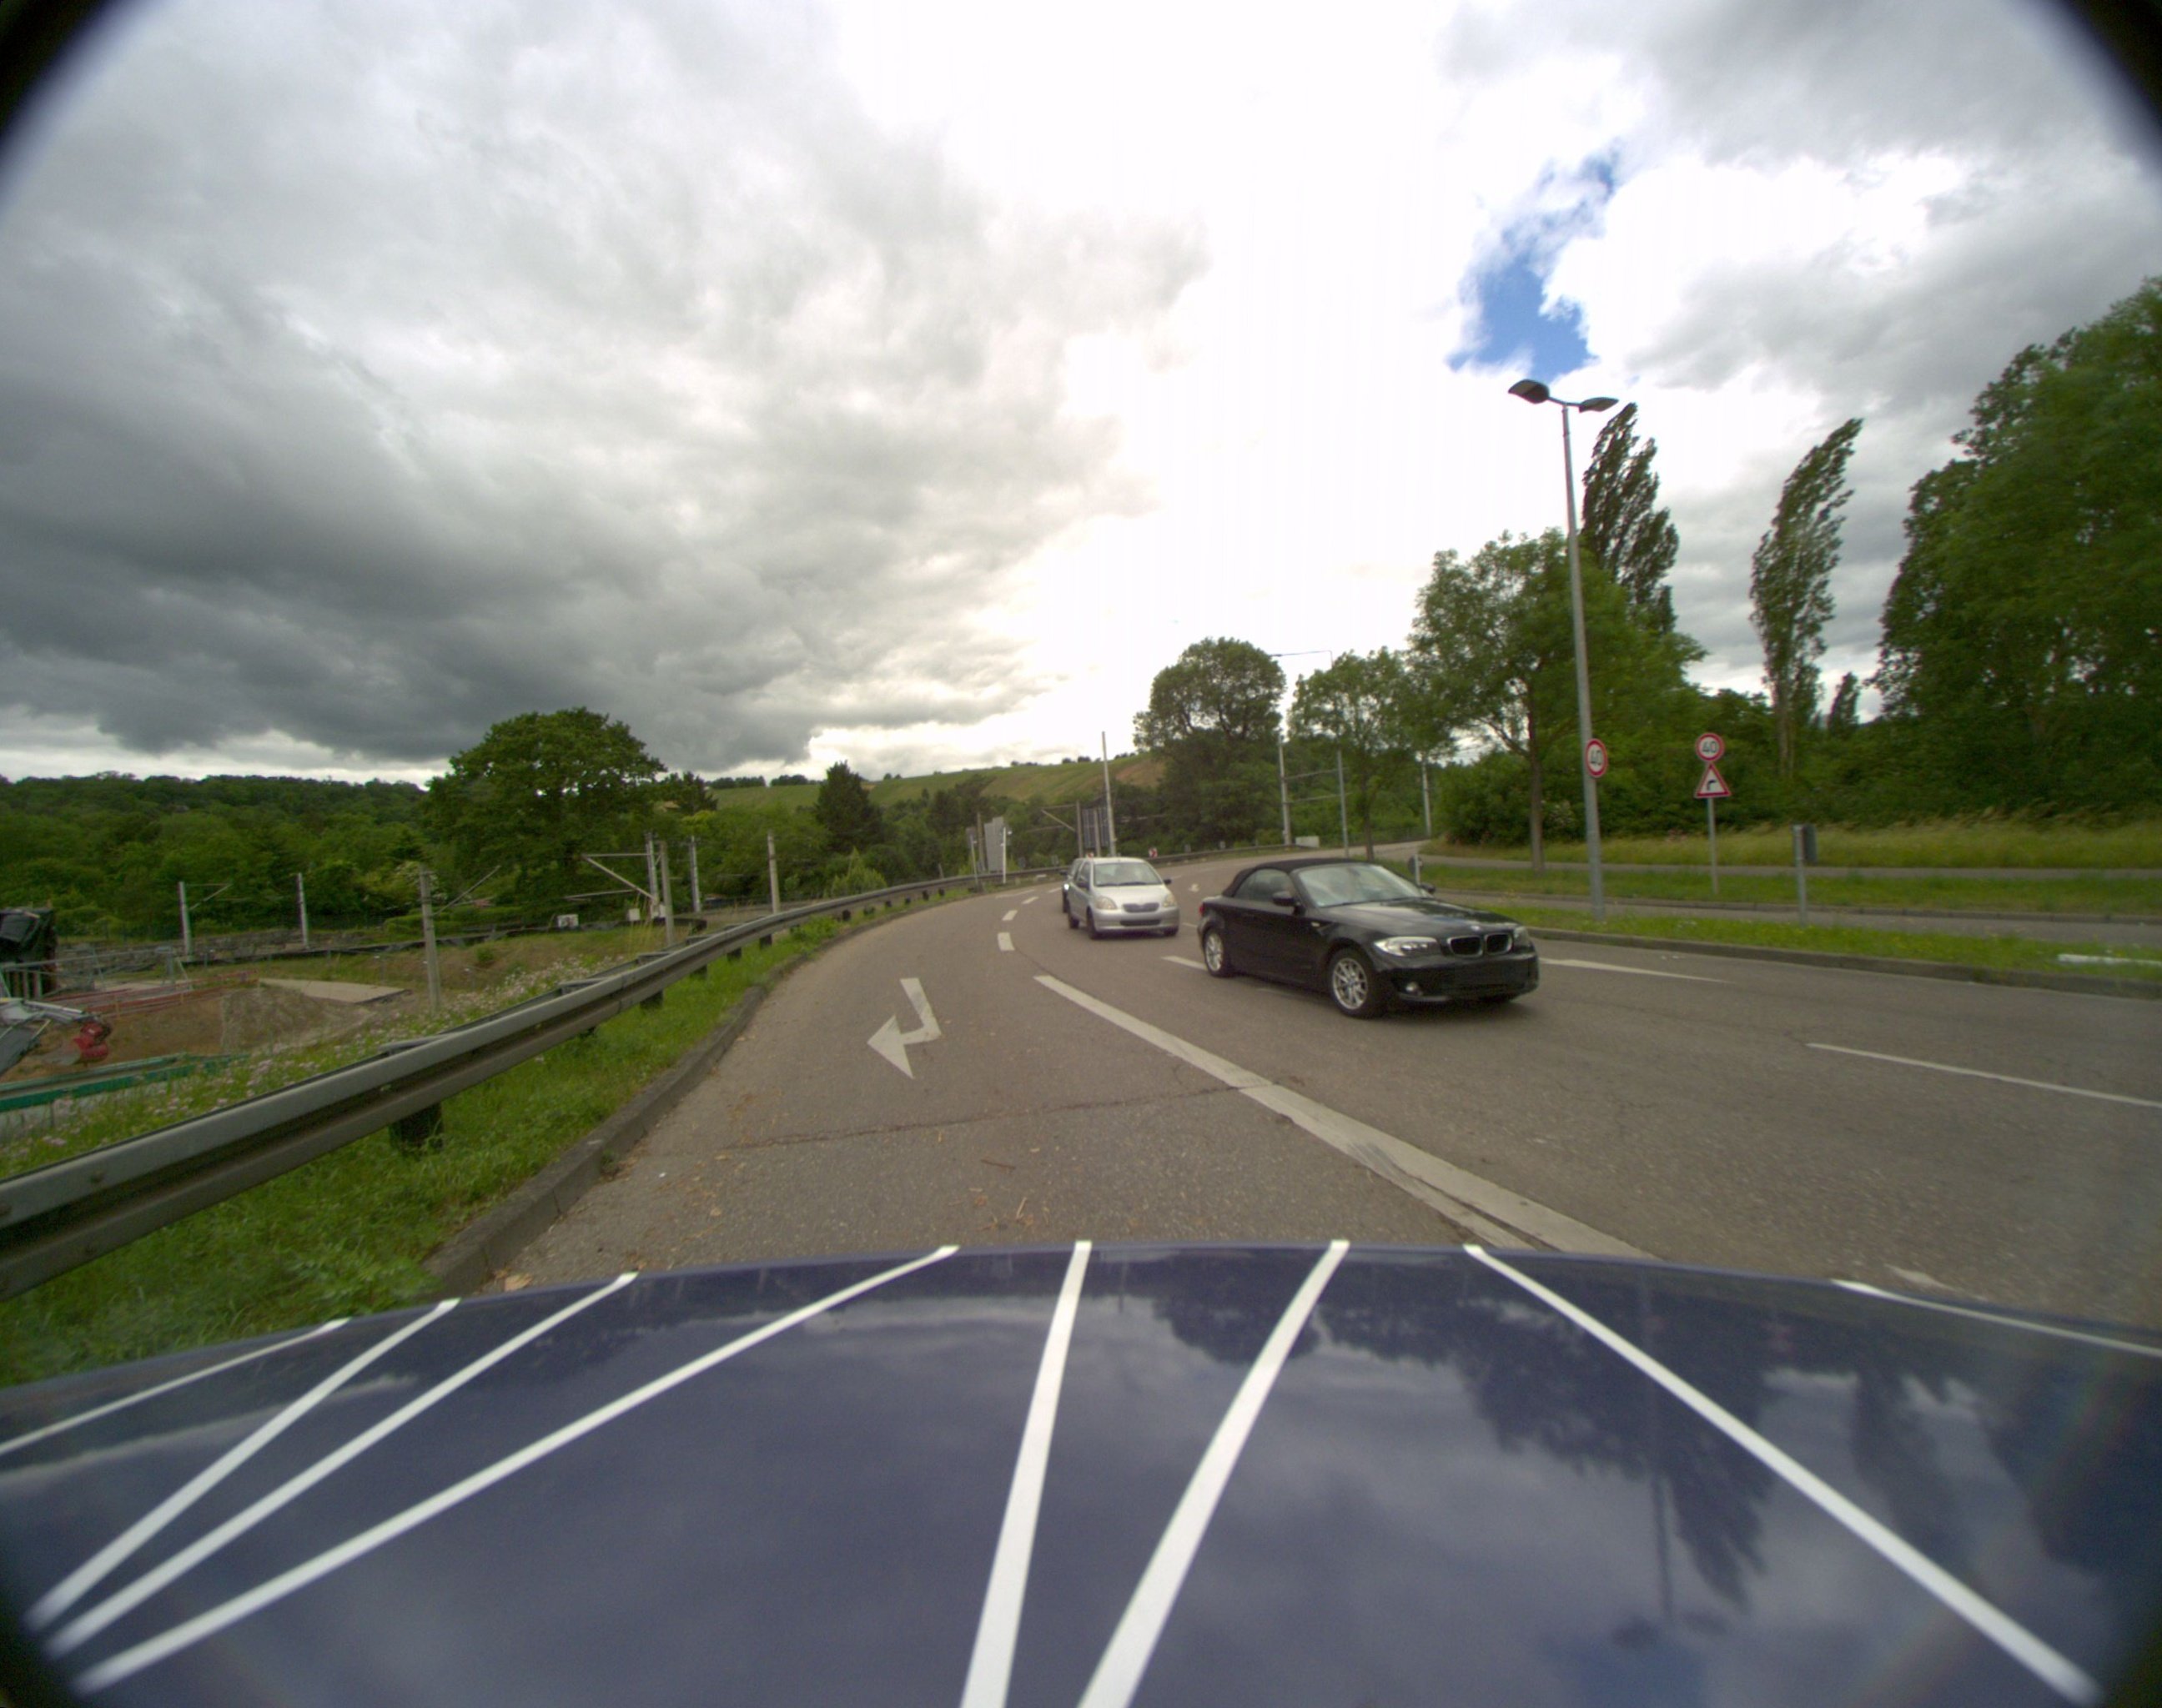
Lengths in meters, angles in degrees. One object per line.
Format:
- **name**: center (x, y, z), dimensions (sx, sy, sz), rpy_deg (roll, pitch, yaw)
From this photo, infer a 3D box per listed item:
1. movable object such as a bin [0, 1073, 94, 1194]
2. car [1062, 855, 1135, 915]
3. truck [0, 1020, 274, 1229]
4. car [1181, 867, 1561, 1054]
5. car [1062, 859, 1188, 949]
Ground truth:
- **movable object such as a bin**: center (-31.451, 8.078, 21.060), dimensions (3.040, 2.732, 4.295), rpy_deg (-4, -1, 23)
- **car**: center (0.554, 0.814, 22.531), dimensions (1.877, 1.468, 4.964), rpy_deg (-2, 1, 2)
- **truck**: center (-27.757, 7.266, 18.463), dimensions (2.843, 3.870, 11.626), rpy_deg (-4, -1, 6)
- **car**: center (2.617, 0.851, 7.988), dimensions (1.569, 1.360, 4.078), rpy_deg (-2, 0, -16)
- **car**: center (0.742, 0.891, 15.163), dimensions (1.674, 1.461, 3.625), rpy_deg (-3, 1, -10)
